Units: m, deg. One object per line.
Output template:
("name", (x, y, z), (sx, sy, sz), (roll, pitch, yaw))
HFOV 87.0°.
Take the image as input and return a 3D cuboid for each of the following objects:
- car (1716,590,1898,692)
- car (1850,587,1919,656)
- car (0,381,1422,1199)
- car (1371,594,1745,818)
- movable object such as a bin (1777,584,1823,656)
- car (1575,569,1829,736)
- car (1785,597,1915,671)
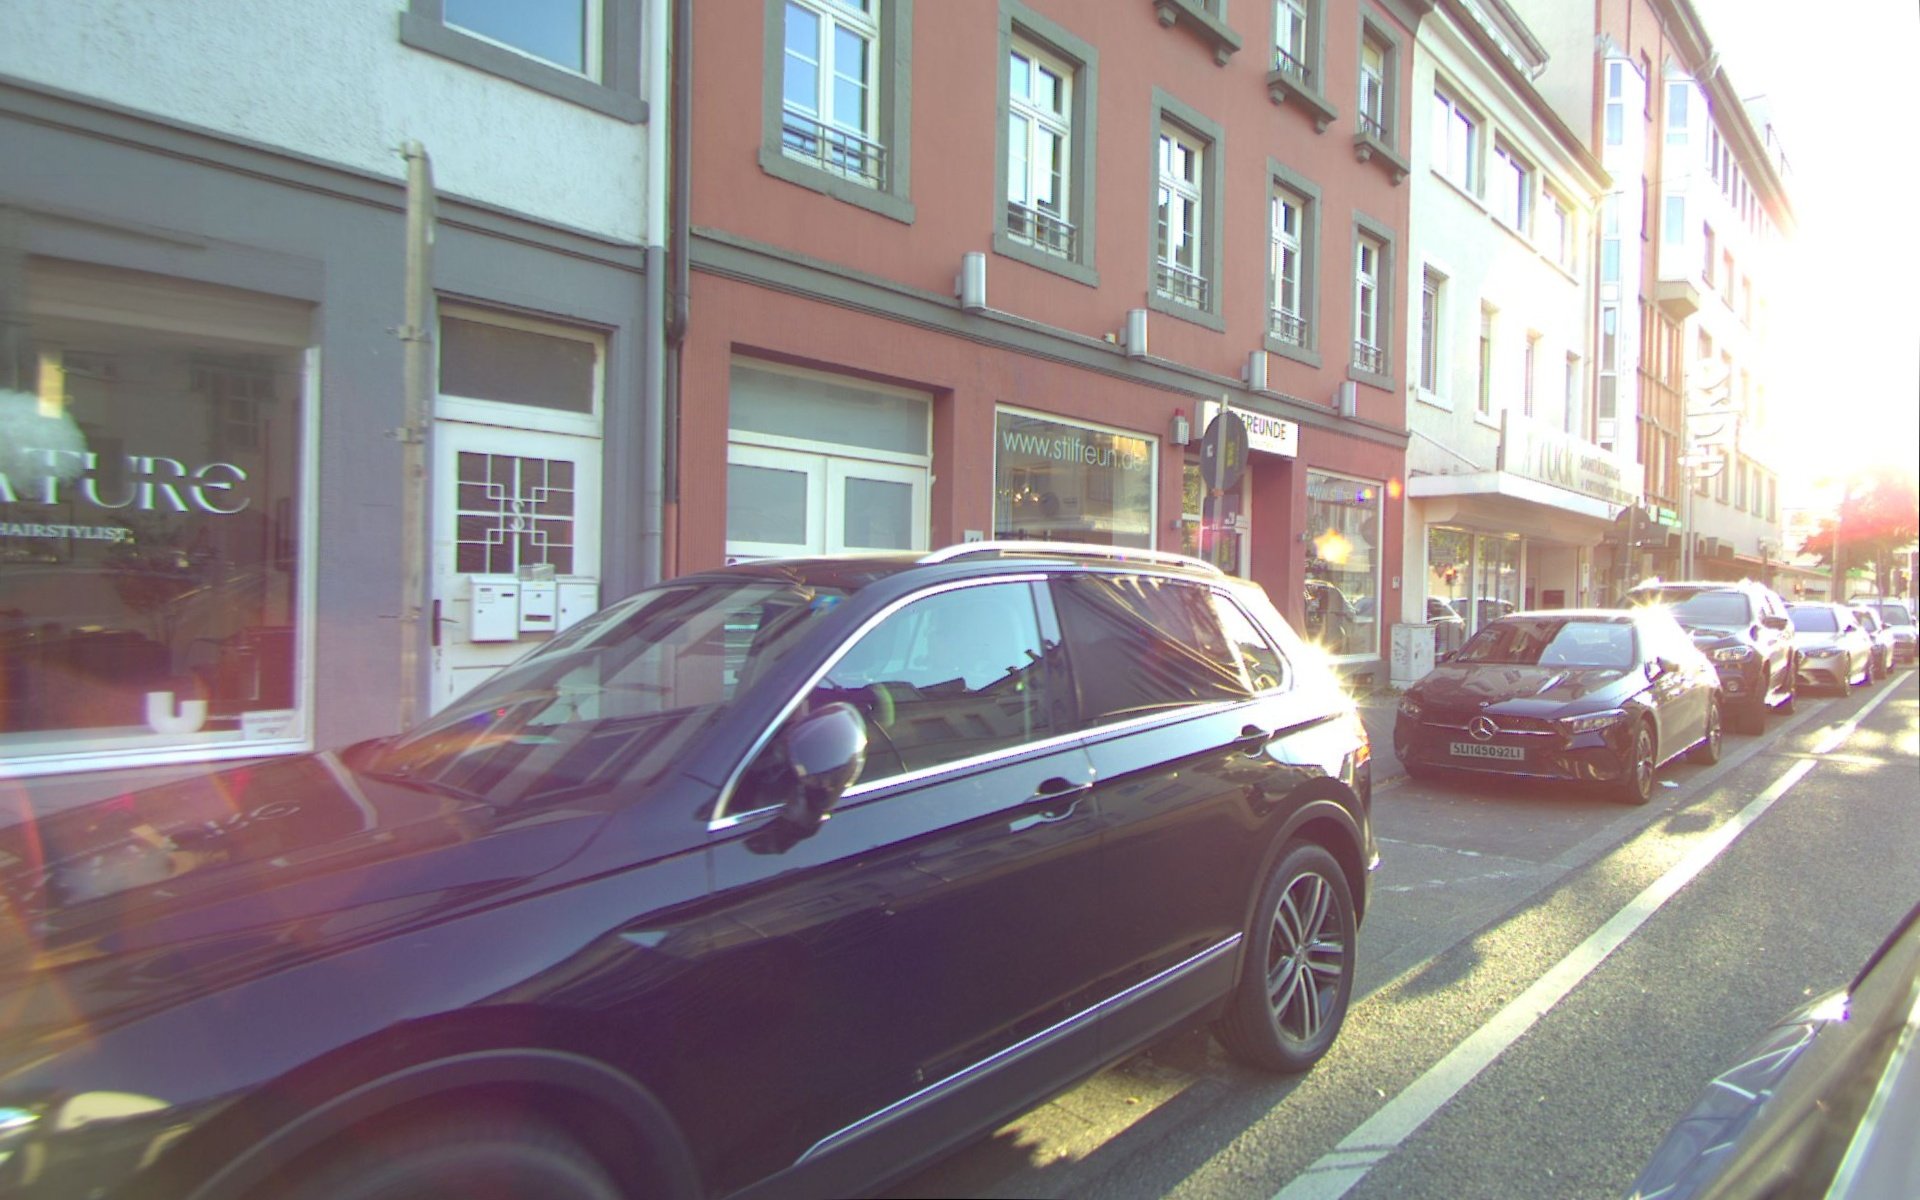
("car", (15.098, 0.612, 17.939), (4.908, 1.546, 1.814), (-1, 0, -42))
("car", (25.937, 0.577, 28.162), (1.654, 1.801, 3.949), (0, -1, 43))
("car", (-0.456, 0.589, 2.886), (4.135, 1.689, 1.813), (-1, 0, -43))
("car", (5.461, 0.710, 8.990), (4.235, 1.502, 1.764), (-1, 0, -43))
("movable object such as a bin", (21.504, 0.494, 25.889), (0.834, 1.796, 1.332), (0, 0, 43))
("car", (9.832, 0.531, 13.225), (4.975, 1.776, 1.884), (-1, 0, -44))
("car", (19.295, 0.669, 21.875), (4.434, 1.438, 1.754), (1, 0, -44))
